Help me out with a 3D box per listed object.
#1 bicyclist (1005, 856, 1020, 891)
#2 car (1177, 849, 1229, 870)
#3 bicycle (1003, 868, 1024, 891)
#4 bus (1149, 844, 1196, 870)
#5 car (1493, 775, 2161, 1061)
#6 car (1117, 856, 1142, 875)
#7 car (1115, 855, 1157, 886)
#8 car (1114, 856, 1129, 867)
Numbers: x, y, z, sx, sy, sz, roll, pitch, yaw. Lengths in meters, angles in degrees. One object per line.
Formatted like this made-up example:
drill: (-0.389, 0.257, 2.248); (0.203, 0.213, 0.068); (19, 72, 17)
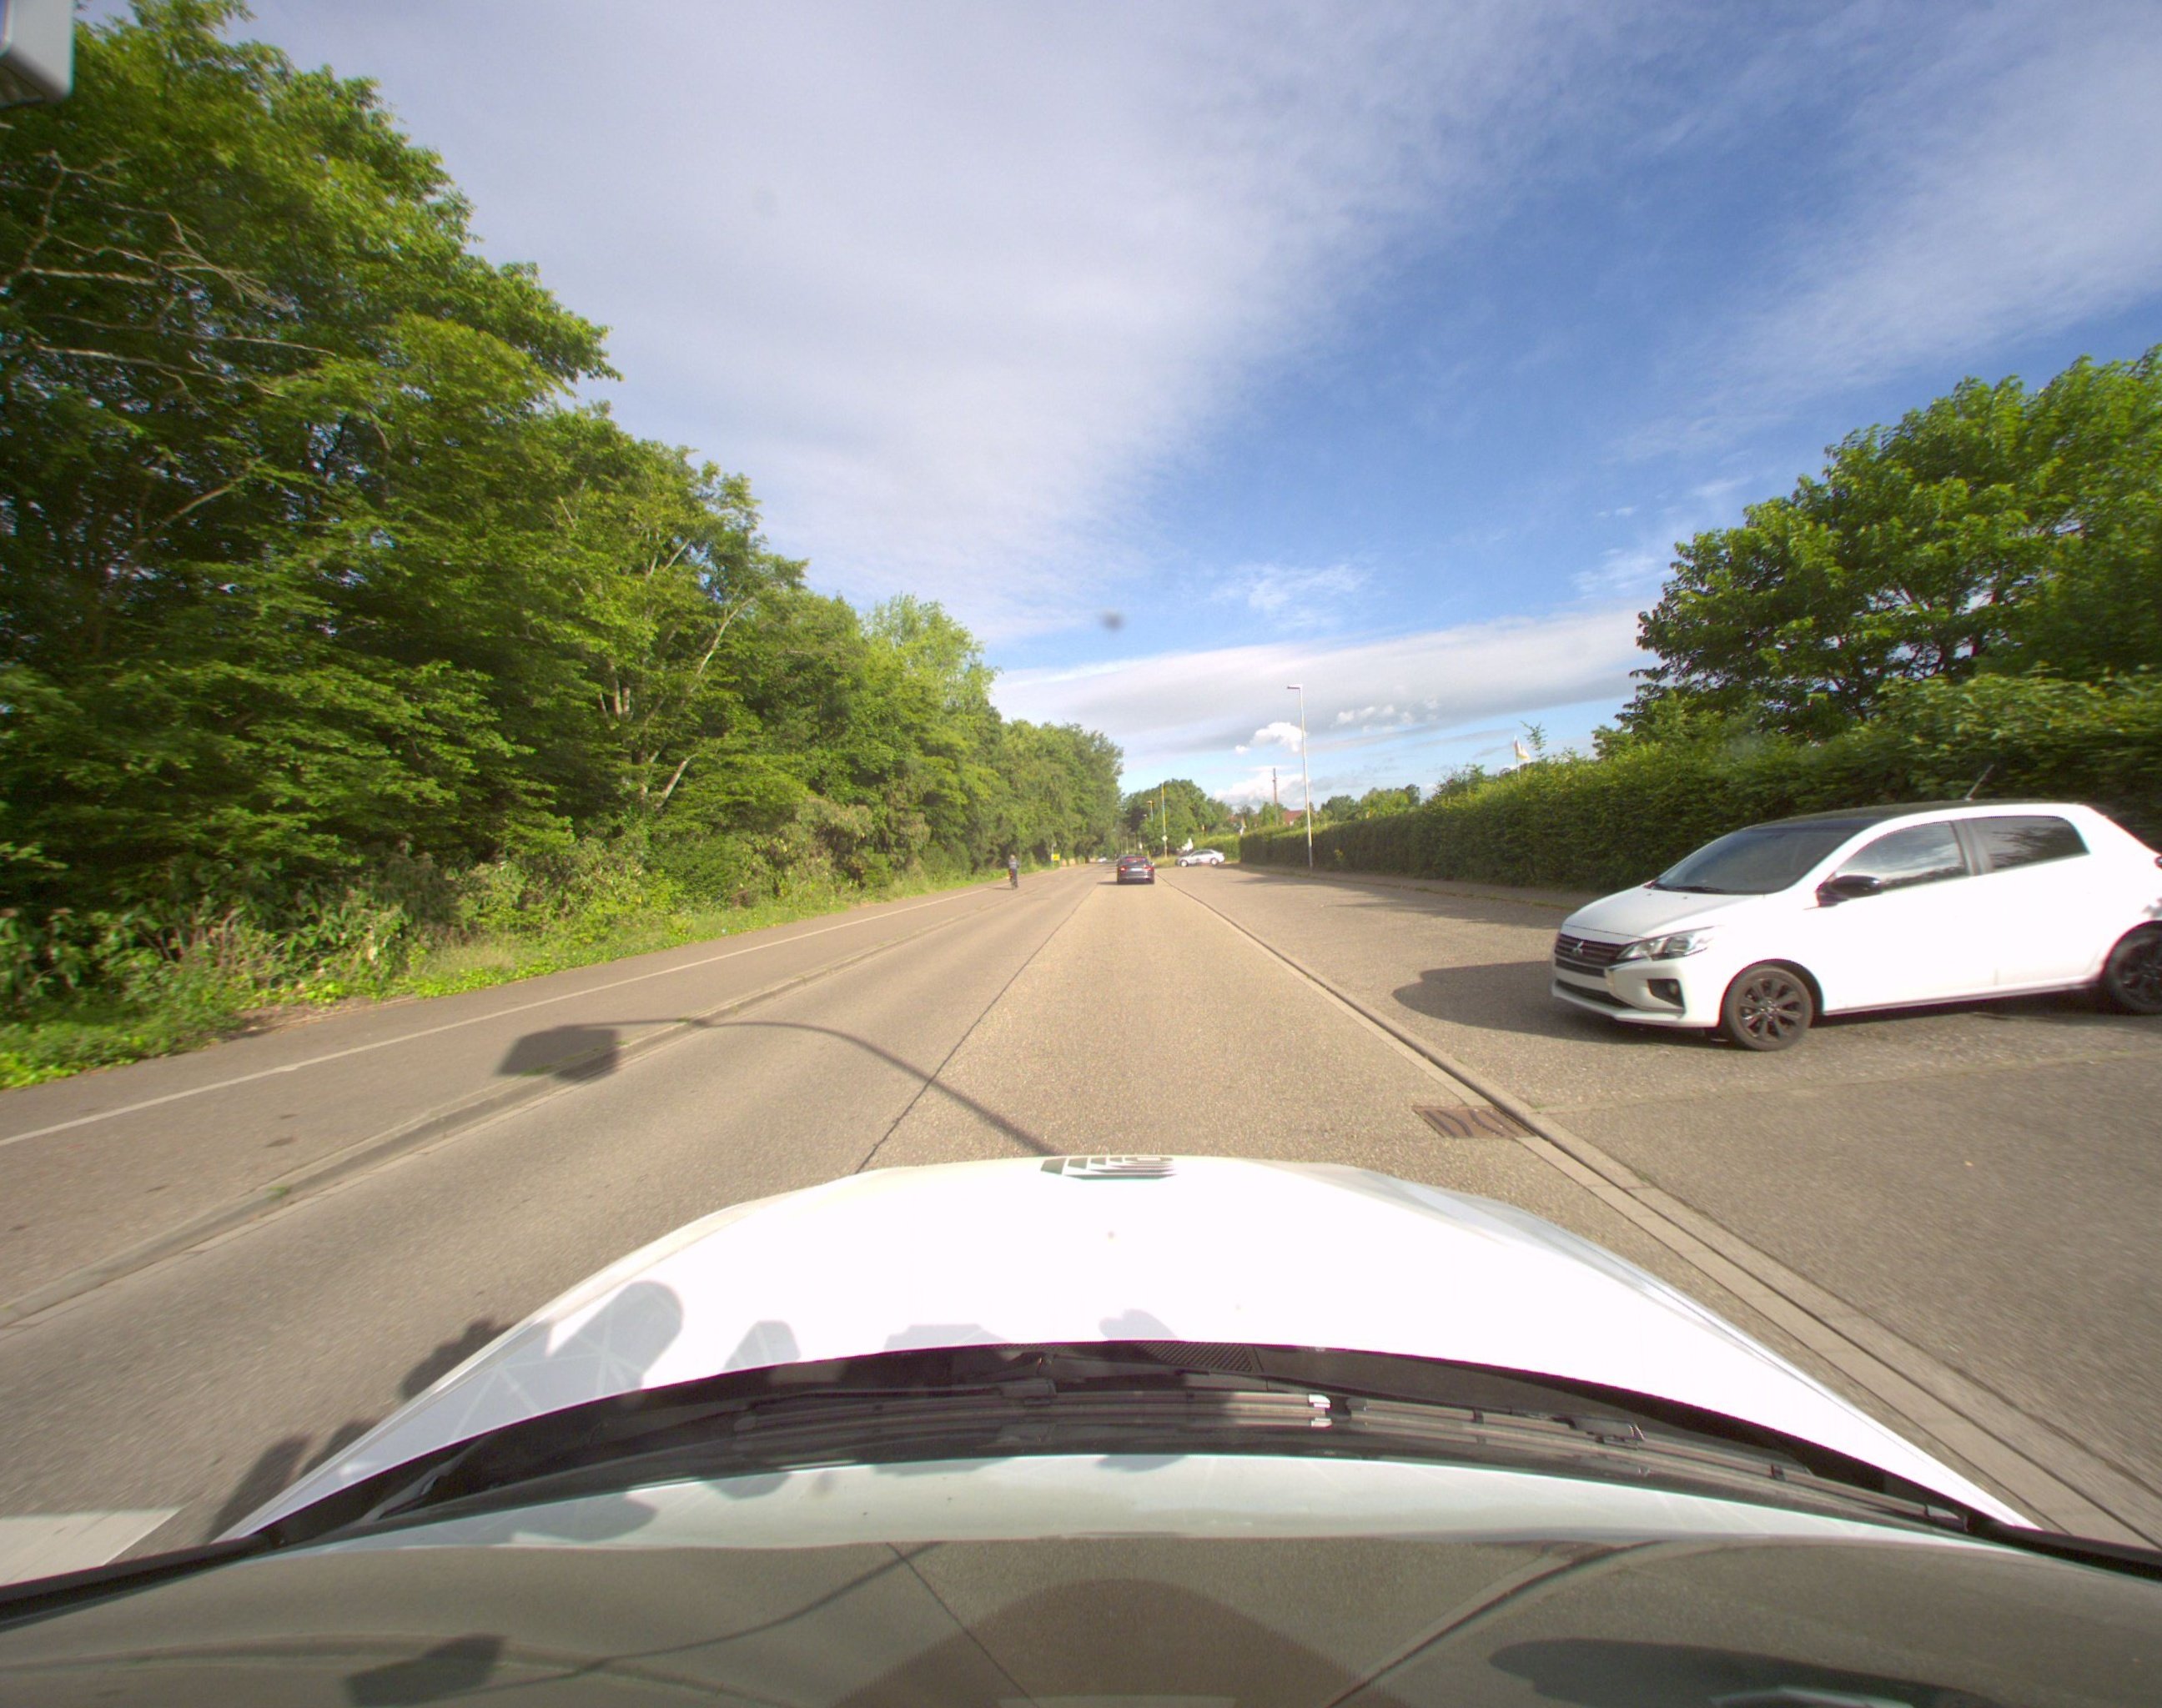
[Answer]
bicyclist: (-3.359, 0.947, 40.022); (0.606, 1.677, 0.884); (-1, -1, 3)
car: (10.612, 0.485, 70.920); (4.336, 1.443, 1.937); (-4, -1, 9)
bicycle: (-3.335, 1.232, 40.204); (0.659, 1.097, 2.351); (-1, -1, 4)
bus: (11.296, 0.375, 100.791); (5.348, 2.746, 2.068); (-4, 0, 0)
car: (5.504, 0.396, 6.138); (3.844, 1.490, 1.692); (-6, 0, 1)
car: (3.866, 0.896, 65.032); (1.879, 1.372, 4.056); (-3, -1, 2)
car: (2.795, 0.809, 41.067); (1.957, 1.434, 4.340); (-2, -1, 4)
car: (5.369, 1.003, 108.414); (1.879, 1.372, 4.056); (-3, -1, 2)
